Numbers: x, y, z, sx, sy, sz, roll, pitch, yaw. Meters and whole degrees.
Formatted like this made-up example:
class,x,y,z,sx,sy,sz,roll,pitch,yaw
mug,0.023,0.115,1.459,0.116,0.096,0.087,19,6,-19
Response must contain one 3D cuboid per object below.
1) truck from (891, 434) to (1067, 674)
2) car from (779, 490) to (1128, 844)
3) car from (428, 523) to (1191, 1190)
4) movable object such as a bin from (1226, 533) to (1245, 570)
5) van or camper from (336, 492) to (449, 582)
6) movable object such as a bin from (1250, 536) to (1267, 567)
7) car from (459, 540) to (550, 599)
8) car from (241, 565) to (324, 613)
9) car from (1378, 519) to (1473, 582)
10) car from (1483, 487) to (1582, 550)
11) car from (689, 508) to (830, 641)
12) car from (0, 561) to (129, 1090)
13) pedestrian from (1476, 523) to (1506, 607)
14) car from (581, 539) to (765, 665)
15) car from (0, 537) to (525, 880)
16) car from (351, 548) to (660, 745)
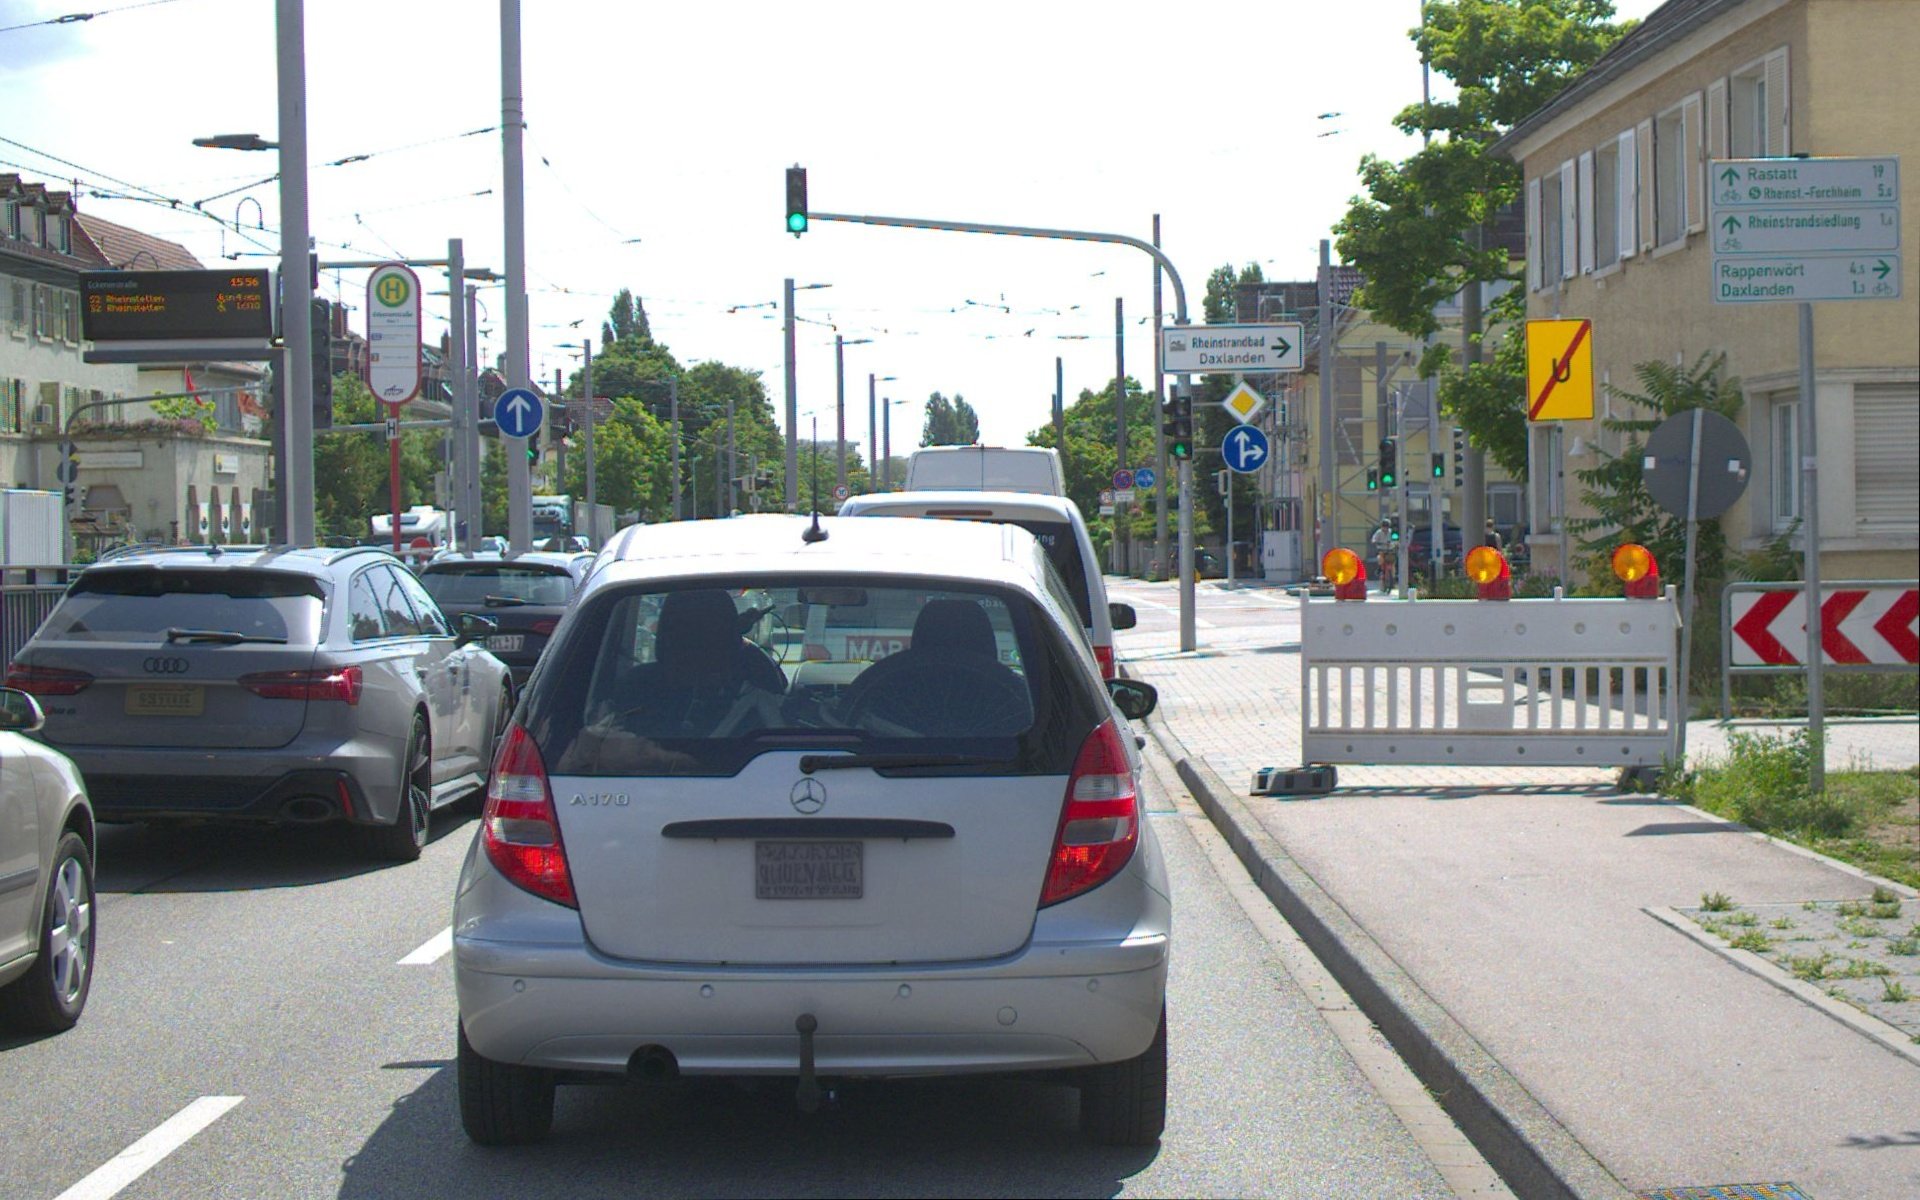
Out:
class,x,y,z,sx,sy,sz,roll,pitch,yaw
truck,0.170,-0.523,39.761,1.852,2.543,5.855,1,1,-1
car,-0.077,0.316,19.275,1.730,1.756,4.017,1,1,-1
car,-0.389,0.571,9.902,1.730,1.512,4.017,1,1,-1
movable object such as a bin,8.166,-1.428,101.978,0.511,1.101,0.855,0,0,2
van or camper,-19.391,-2.156,117.776,2.324,2.920,7.754,-1,1,1
movable object such as a bin,9.341,-1.510,107.478,0.468,0.943,0.558,-1,0,1
car,-14.875,-1.019,112.594,1.994,1.770,4.878,-2,1,4
car,-19.808,-0.336,100.578,1.684,1.347,4.345,1,1,-2
car,12.293,-1.306,91.002,1.993,1.590,4.131,1,1,1
car,15.132,-2.148,91.111,1.993,1.590,4.131,1,1,1
car,-2.894,-0.377,50.250,1.852,1.837,3.919,1,1,-1
car,-3.477,0.614,8.817,1.731,1.444,4.123,1,1,-1
pedestrian,10.431,-0.695,67.514,0.547,1.638,0.401,1,0,6
car,-3.309,0.004,40.257,1.852,1.383,3.919,1,1,-1
car,-3.413,0.438,17.250,1.916,1.472,4.562,1,1,-1
car,-3.449,0.311,26.860,1.852,1.383,4.514,1,1,-1
